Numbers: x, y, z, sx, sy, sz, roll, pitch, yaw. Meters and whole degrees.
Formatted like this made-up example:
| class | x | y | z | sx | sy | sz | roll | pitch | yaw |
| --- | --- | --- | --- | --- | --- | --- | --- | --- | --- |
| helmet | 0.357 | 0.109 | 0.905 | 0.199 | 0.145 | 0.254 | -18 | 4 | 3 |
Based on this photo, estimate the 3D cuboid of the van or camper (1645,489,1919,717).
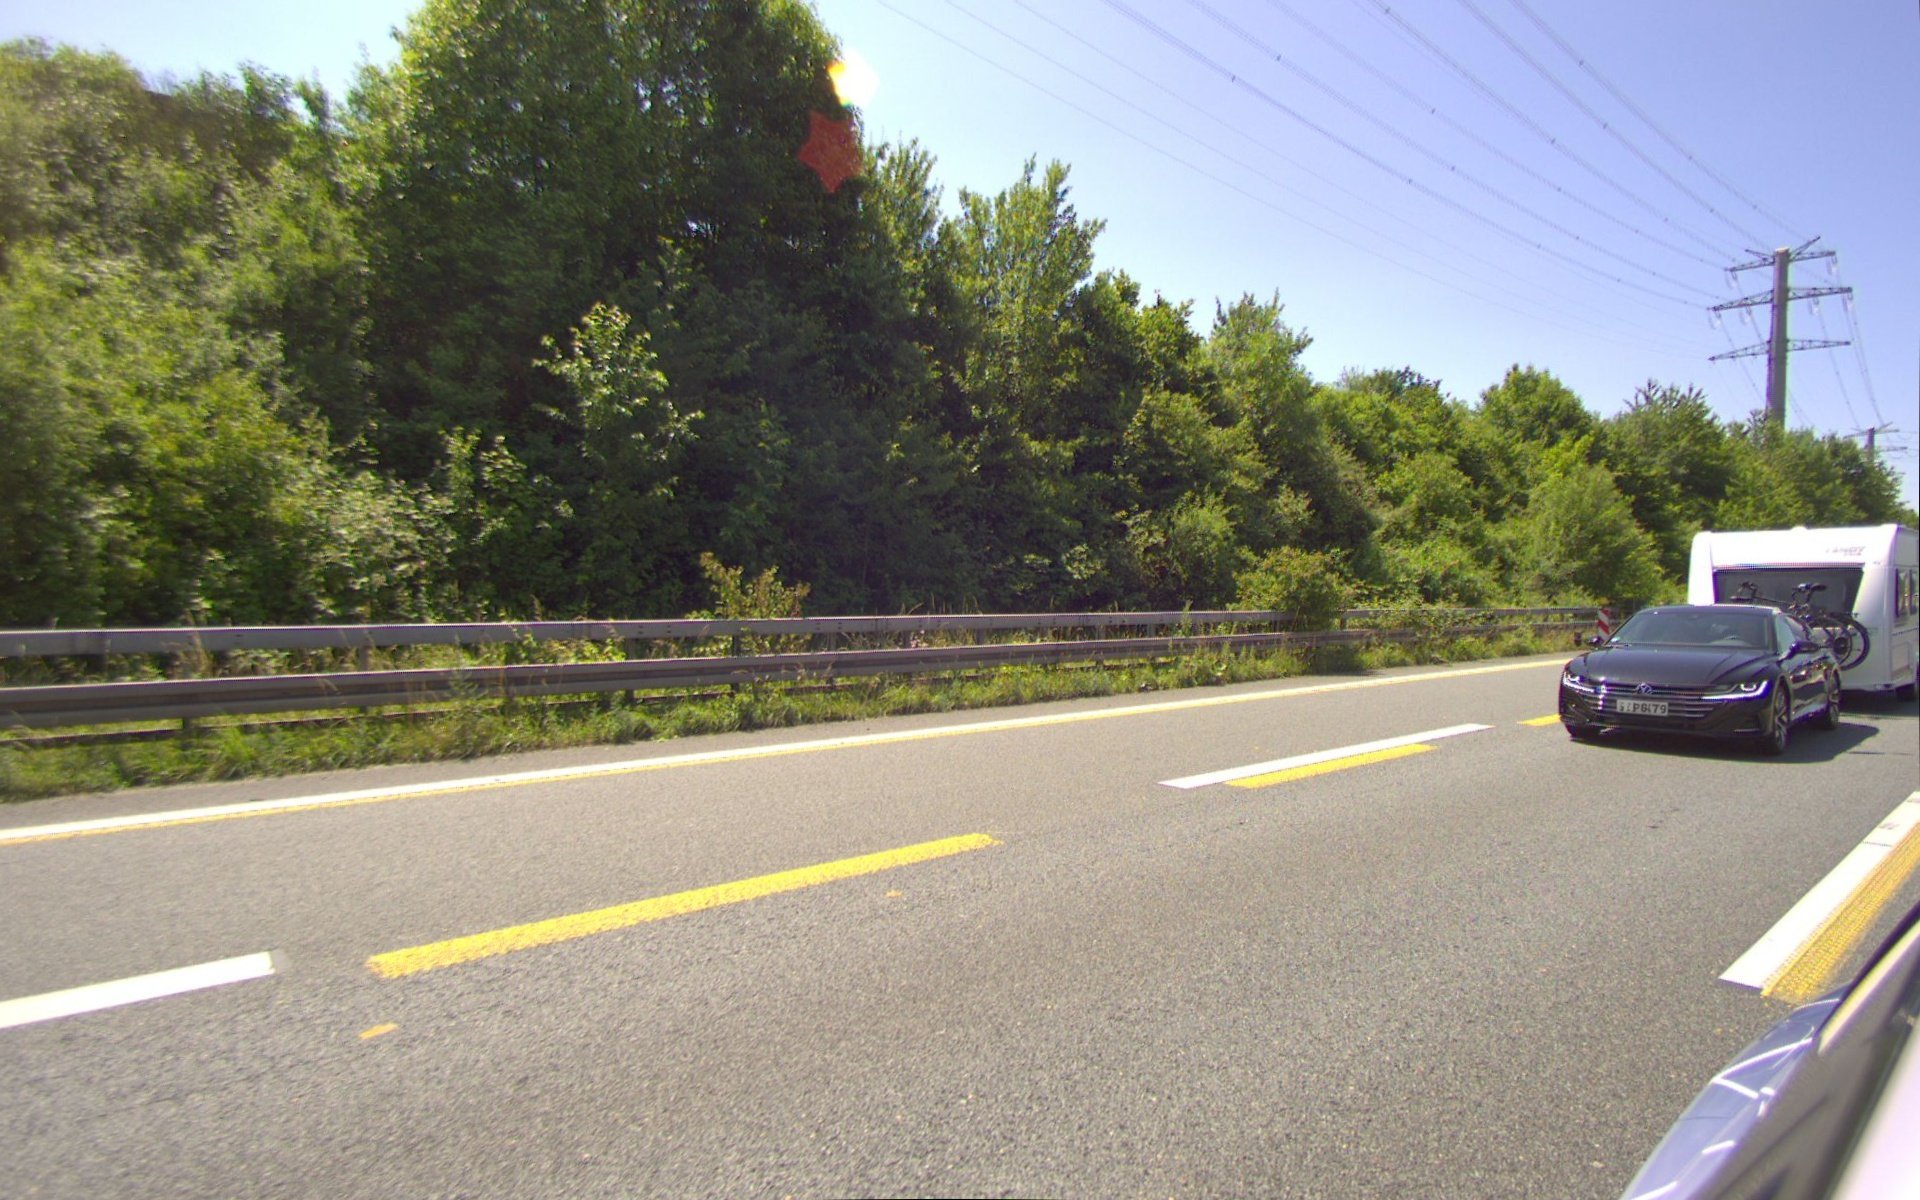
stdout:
| class | x | y | z | sx | sy | sz | roll | pitch | yaw |
| --- | --- | --- | --- | --- | --- | --- | --- | --- | --- |
| van or camper | 12.961 | 0.012 | 15.139 | 8.270 | 2.597 | 2.430 | 0 | 0 | -41 |

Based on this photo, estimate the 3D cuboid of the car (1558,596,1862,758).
| class | x | y | z | sx | sy | sz | roll | pitch | yaw |
| --- | --- | --- | --- | --- | --- | --- | --- | --- | --- |
| car | 8.273 | 0.679 | 11.026 | 4.136 | 1.425 | 1.799 | 0 | 0 | -41 |
